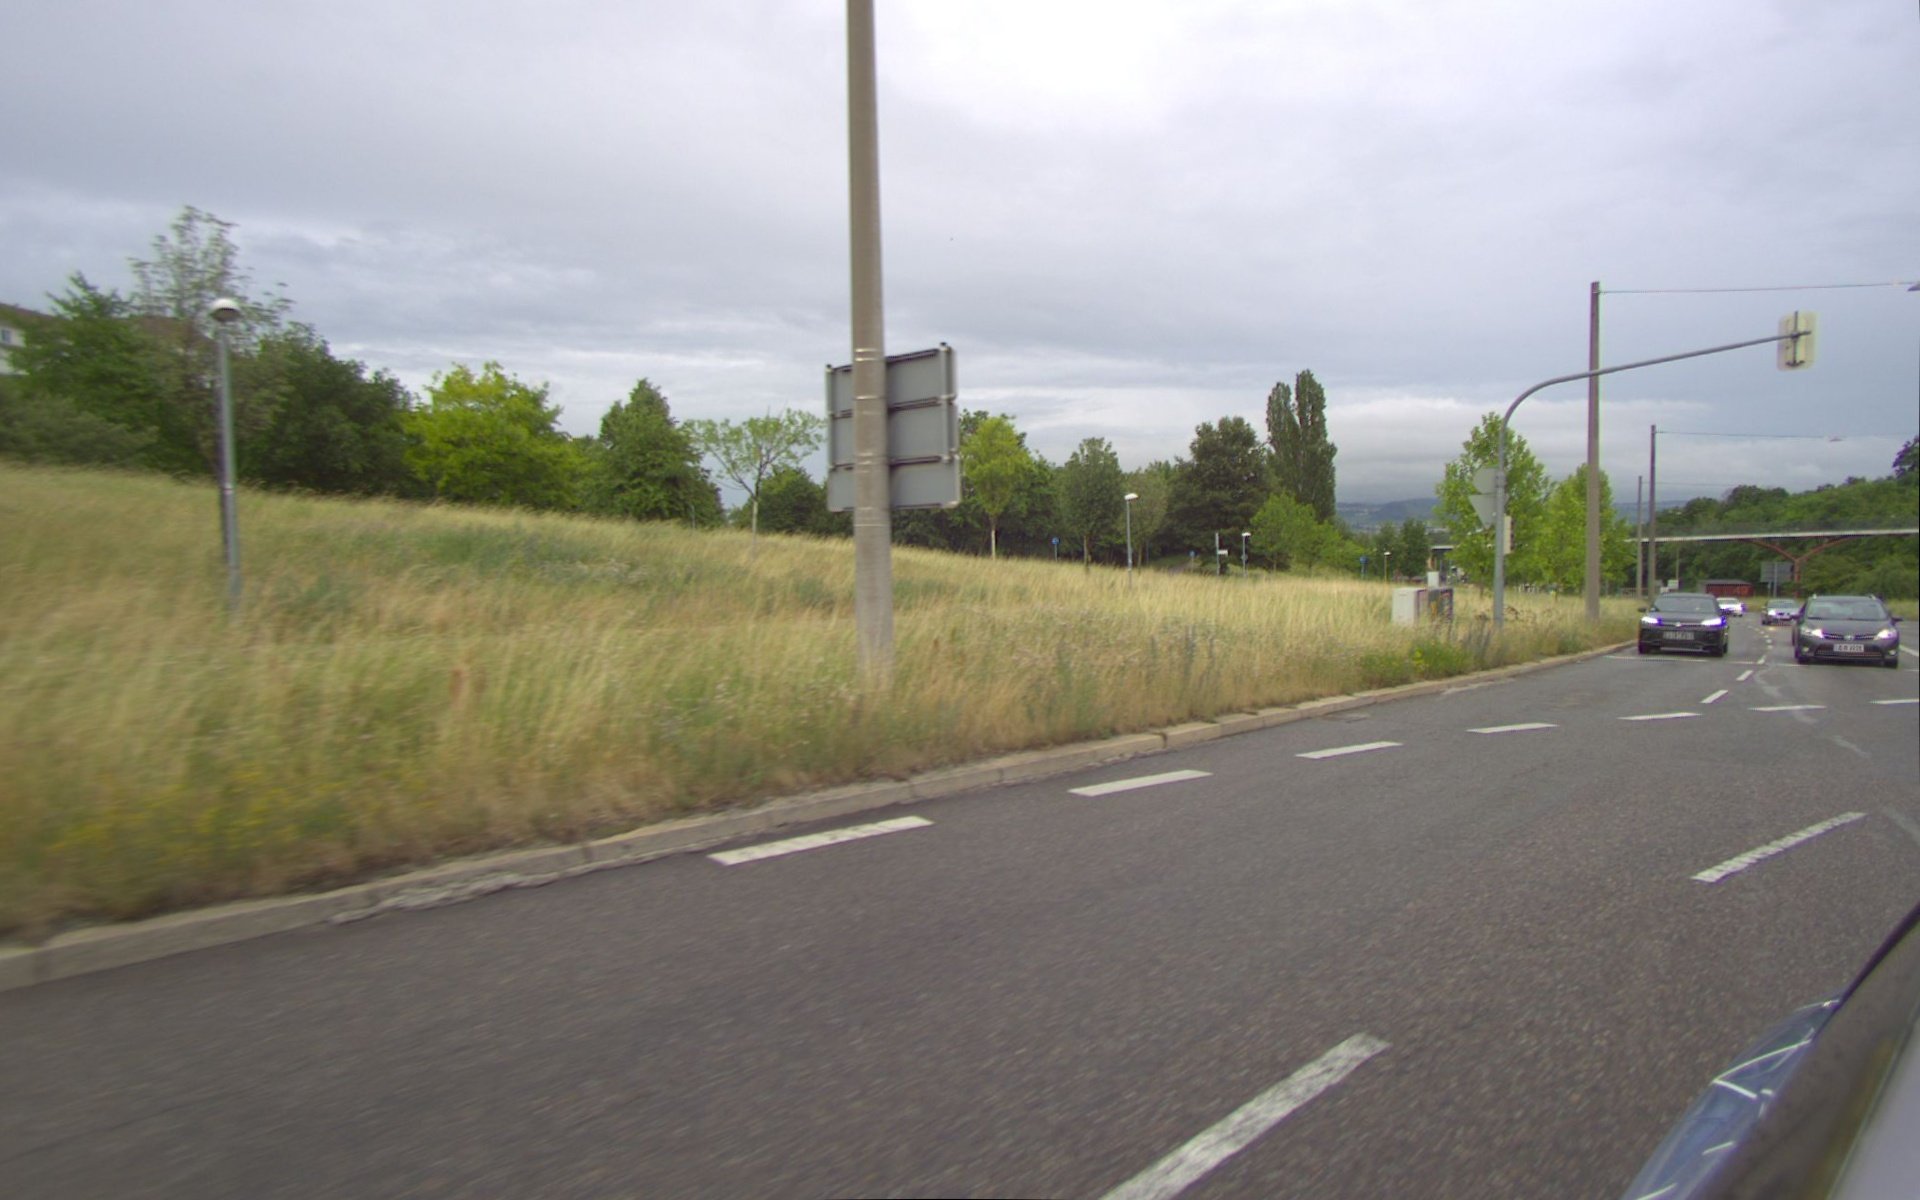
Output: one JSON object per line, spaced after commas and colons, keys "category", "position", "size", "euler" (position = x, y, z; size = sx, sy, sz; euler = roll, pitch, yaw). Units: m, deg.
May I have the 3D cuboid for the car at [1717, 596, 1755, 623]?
{"category": "car", "position": [60.498, 0.695, 78.934], "size": [1.823, 1.972, 3.958], "euler": [0, 1, 30]}

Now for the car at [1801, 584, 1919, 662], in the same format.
{"category": "car", "position": [21.276, 0.452, 24.036], "size": [1.991, 1.663, 4.562], "euler": [0, 1, 40]}

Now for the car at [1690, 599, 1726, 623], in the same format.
{"category": "car", "position": [67.469, 0.996, 91.365], "size": [1.981, 2.039, 3.962], "euler": [1, 1, 27]}

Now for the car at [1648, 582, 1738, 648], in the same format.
{"category": "car", "position": [19.920, 0.362, 27.440], "size": [1.713, 1.663, 3.832], "euler": [-1, 0, 40]}

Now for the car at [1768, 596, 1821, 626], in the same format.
{"category": "car", "position": [47.098, 0.591, 57.185], "size": [1.859, 1.504, 3.952], "euler": [2, 2, 33]}
